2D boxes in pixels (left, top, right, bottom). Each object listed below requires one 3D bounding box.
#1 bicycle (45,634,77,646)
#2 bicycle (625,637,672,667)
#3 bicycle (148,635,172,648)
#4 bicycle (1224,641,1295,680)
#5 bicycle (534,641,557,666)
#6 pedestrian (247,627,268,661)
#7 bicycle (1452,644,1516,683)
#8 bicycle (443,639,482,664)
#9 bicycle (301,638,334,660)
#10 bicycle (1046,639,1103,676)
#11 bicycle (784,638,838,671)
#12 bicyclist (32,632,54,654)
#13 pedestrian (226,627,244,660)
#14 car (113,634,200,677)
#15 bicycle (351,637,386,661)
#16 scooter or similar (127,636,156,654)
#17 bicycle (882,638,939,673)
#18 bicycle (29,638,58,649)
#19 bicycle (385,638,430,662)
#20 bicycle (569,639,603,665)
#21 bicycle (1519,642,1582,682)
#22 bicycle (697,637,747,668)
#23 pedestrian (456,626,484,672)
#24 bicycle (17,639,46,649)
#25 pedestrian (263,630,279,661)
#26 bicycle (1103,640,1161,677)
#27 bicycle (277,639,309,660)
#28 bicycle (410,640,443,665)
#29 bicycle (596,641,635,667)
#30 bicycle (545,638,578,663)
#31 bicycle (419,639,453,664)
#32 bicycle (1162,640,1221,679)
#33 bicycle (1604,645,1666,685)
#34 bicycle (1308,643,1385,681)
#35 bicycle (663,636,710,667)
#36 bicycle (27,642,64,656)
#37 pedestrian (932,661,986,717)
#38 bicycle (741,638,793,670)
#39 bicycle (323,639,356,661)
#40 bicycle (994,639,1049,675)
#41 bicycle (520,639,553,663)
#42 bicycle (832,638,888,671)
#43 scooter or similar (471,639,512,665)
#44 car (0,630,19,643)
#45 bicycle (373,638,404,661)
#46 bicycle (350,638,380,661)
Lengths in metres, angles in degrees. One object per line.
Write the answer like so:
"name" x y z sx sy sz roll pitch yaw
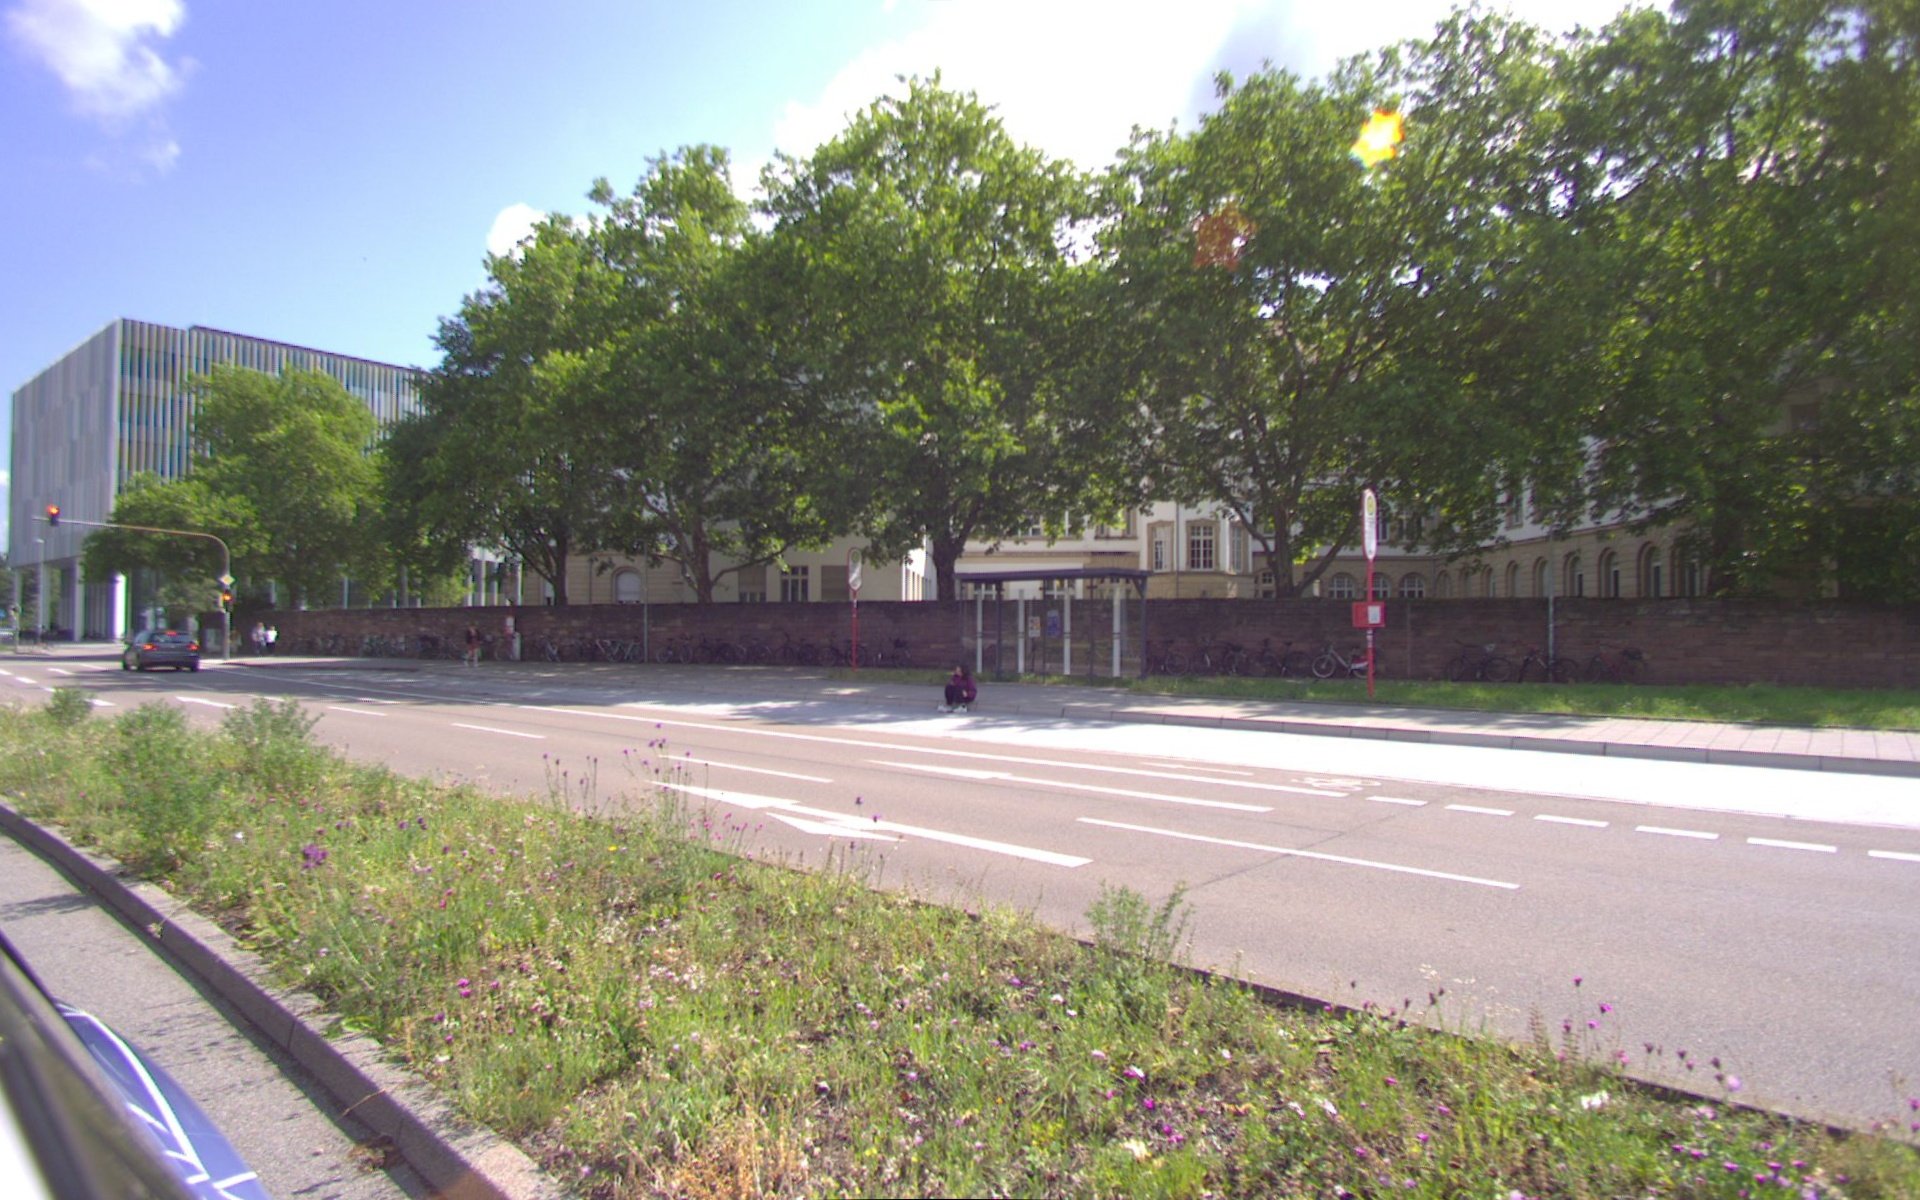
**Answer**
"bicycle" -89.015 3.961 100.209 0.720 1.105 2.193 -2 -2 33
"bicycle" -11.425 1.902 37.147 1.746 1.081 0.579 -1 -2 26
"bicycle" -69.138 3.570 87.481 0.710 1.105 2.223 0 -2 -12
"bicycle" 8.527 1.713 28.804 1.859 1.081 0.579 -1 -2 25
"bicycle" -16.051 2.059 39.195 0.362 0.962 1.627 1 -2 -40
"pedestrian" -34.863 2.188 50.233 0.730 1.664 0.635 -2 -3 36
"bicycle" 14.027 1.700 27.121 1.445 1.019 0.469 -1 -2 21
"bicycle" -21.067 2.171 42.827 1.875 1.056 0.575 -1 -2 32
"bicycle" -31.373 2.404 49.421 1.875 1.056 0.625 -1 -2 32
"bicycle" 3.442 1.717 30.552 1.619 1.081 0.580 -1 -2 20
"bicycle" -5.014 1.825 33.962 1.742 1.081 0.580 -1 -2 20
"bicyclist" -62.345 2.932 68.816 0.930 1.475 0.633 0 -2 -17
"pedestrian" -37.739 2.263 52.691 0.725 1.664 0.555 -2 -3 36
"car" -28.727 1.952 36.150 4.143 1.456 1.682 -2 -4 41
"bicycle" -26.835 2.230 45.897 1.875 1.056 0.587 -1 -2 32
"scooter or similar" -54.341 2.985 67.163 0.498 1.166 1.496 -1 -2 13
"bicycle" -1.586 1.774 32.545 1.742 1.081 0.580 -1 -2 20
"bicycle" -98.047 4.635 108.320 0.720 1.105 2.193 -2 -2 33
"bicycle" -24.477 2.203 44.821 1.865 1.056 0.590 -1 -2 17
"bicycle" -14.378 1.986 38.909 1.394 0.962 0.364 -1 -2 26
"bicycle" 15.622 1.637 26.781 1.360 1.019 0.389 -1 -2 21
"bicycle" -8.392 1.843 35.634 1.746 1.081 0.579 -1 -2 26
"pedestrian" -17.686 1.768 36.518 0.744 1.622 0.650 -2 -1 38
"bicycle" -100.554 4.748 109.658 0.720 1.105 2.193 -2 -2 33
"pedestrian" -34.675 2.276 50.943 0.615 1.551 0.472 -2 -3 36
"bicycle" 5.087 1.726 29.948 1.619 1.081 0.580 -1 -2 20
"bicycle" -33.263 2.466 50.467 1.875 1.056 0.625 -1 -2 32
"bicycle" -22.948 2.253 43.542 1.875 1.056 0.370 -1 -2 32
"bicycle" -12.967 2.019 38.065 1.618 0.962 0.368 -1 -2 26
"bicycle" -15.625 1.990 39.677 1.394 0.962 0.364 -1 -2 26
"bicycle" -22.738 2.212 43.908 1.875 1.056 0.391 -1 -2 32
"bicycle" 6.719 1.716 29.383 1.619 1.081 0.580 -1 -2 20
"bicycle" 17.498 1.678 26.250 1.245 1.019 0.351 -1 -2 21
"bicycle" 10.708 1.708 28.097 1.950 1.019 0.469 -1 -2 21
"bicycle" -9.819 1.856 36.326 1.644 1.084 0.626 -1 -2 26
"bicycle" -62.201 3.342 68.852 1.745 0.899 0.640 0 -2 -17
"pedestrian" -0.015 1.648 18.865 0.742 0.970 0.687 -2 -2 40
"bicycle" -6.642 1.857 34.749 1.745 1.081 0.579 -1 -2 25
"bicycle" -29.599 2.381 48.277 1.875 1.056 0.560 -1 -2 32
"bicycle" 1.889 1.756 31.120 1.619 1.081 0.580 -1 -2 20
"bicycle" -16.890 2.022 40.346 1.394 0.962 0.364 -1 -2 26
"bicycle" -3.286 1.780 33.201 1.742 1.081 0.580 -1 -2 20
"scooter or similar" -19.350 2.129 41.786 1.875 1.056 0.575 -1 -2 32
"car" -124.034 4.739 130.301 1.645 1.699 3.946 -2 -3 40
"bicycle" -25.989 2.240 45.976 1.875 1.056 0.367 -1 -2 32
"bicycle" -27.694 2.291 47.072 1.875 1.056 0.367 -1 -2 32
